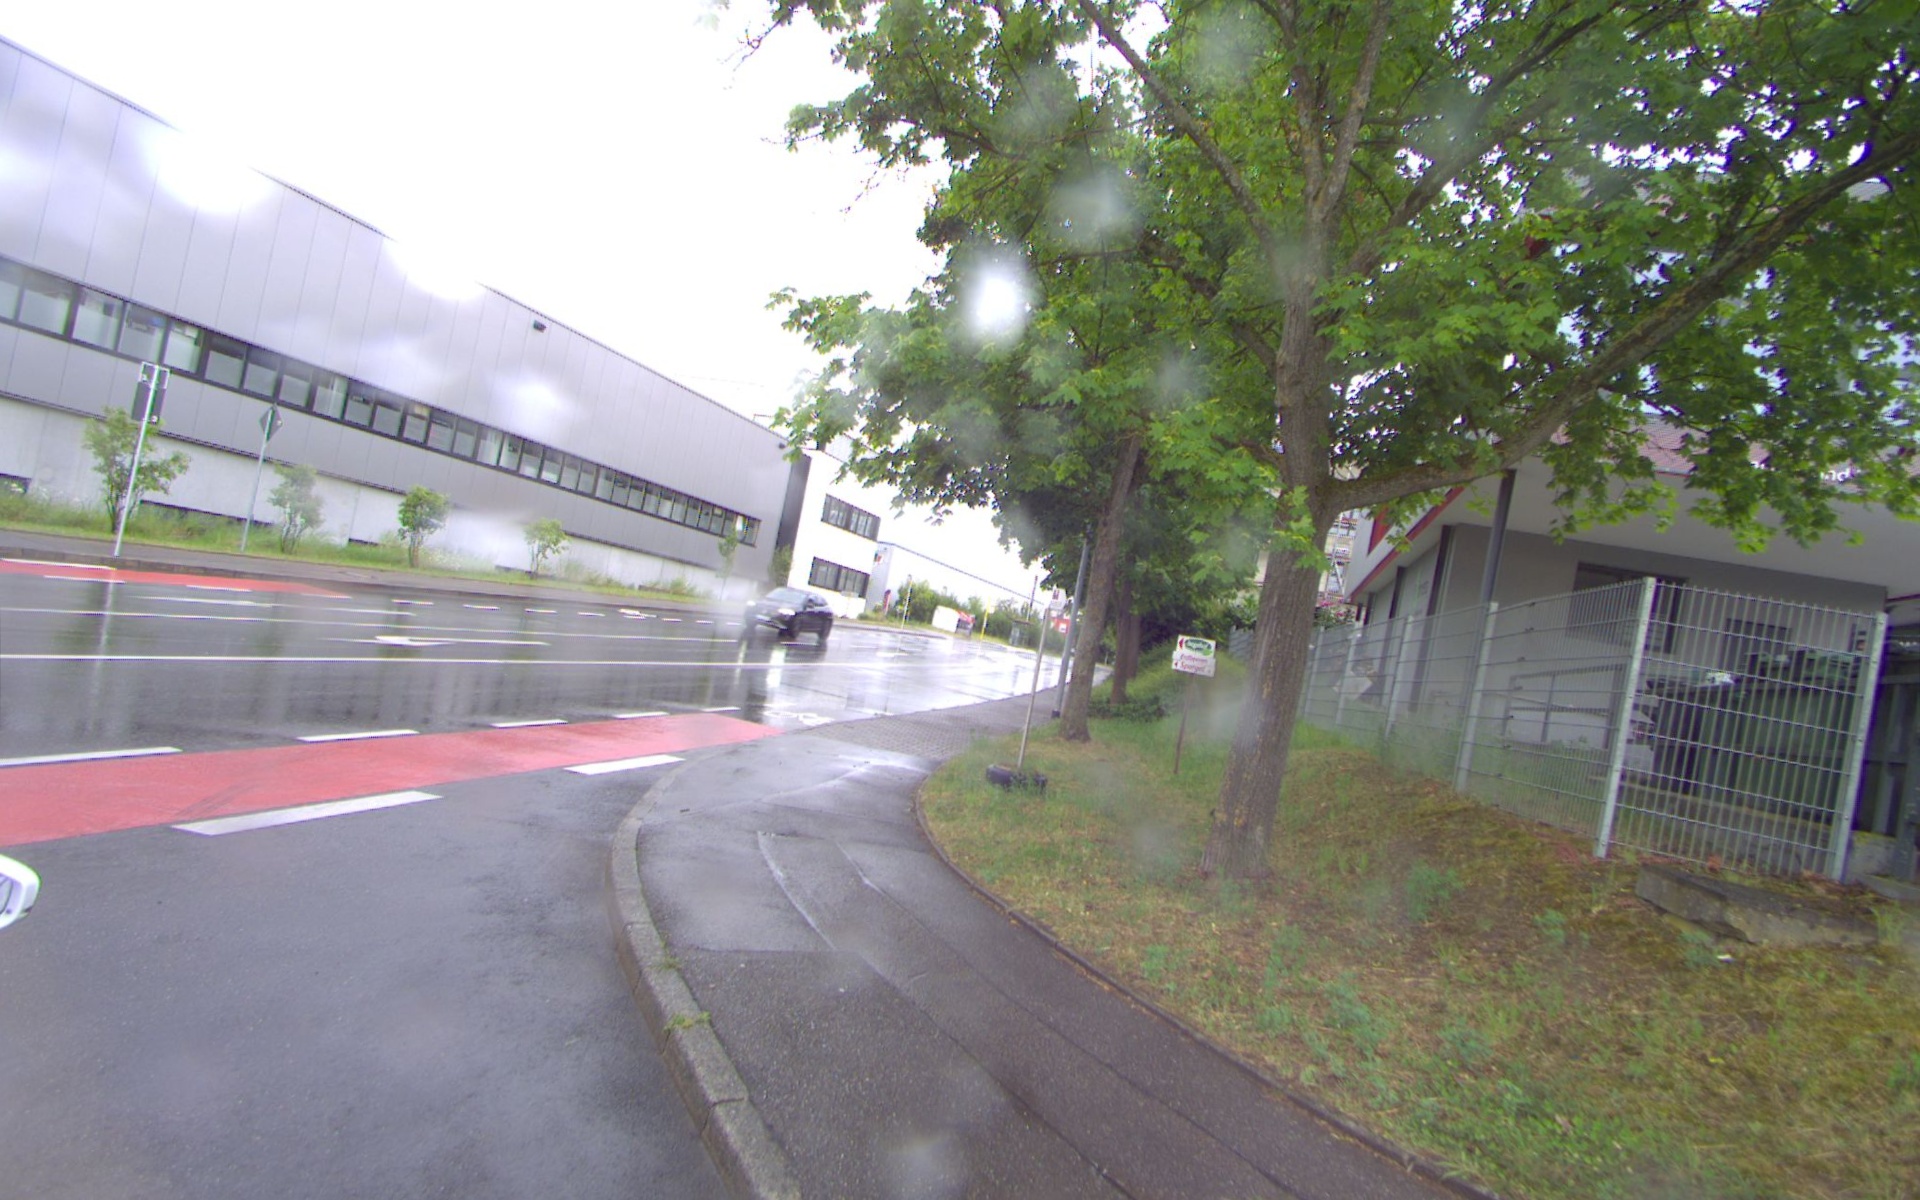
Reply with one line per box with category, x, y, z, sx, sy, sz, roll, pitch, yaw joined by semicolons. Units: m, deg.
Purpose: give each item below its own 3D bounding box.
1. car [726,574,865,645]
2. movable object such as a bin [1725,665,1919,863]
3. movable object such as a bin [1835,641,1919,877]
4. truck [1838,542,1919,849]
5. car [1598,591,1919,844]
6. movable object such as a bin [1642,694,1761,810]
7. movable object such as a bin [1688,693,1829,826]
car;-5.743;0.447;36.385;2.317;1.836;6.886;9;-2;13
movable object such as a bin;5.590;1.000;6.272;0.867;1.054;1.054;8;-1;16
movable object such as a bin;5.308;0.856;4.931;1.007;1.175;1.143;8;-1;14
truck;9.652;1.029;6.930;4.745;2.369;2.252;8;-1;9
car;9.558;1.340;9.965;4.845;2.037;2.065;8;-1;13
movable object such as a bin;6.000;1.216;8.169;0.529;0.811;0.523;8;-1;14
movable object such as a bin;5.795;1.141;7.327;0.529;0.827;0.567;8;-1;14
